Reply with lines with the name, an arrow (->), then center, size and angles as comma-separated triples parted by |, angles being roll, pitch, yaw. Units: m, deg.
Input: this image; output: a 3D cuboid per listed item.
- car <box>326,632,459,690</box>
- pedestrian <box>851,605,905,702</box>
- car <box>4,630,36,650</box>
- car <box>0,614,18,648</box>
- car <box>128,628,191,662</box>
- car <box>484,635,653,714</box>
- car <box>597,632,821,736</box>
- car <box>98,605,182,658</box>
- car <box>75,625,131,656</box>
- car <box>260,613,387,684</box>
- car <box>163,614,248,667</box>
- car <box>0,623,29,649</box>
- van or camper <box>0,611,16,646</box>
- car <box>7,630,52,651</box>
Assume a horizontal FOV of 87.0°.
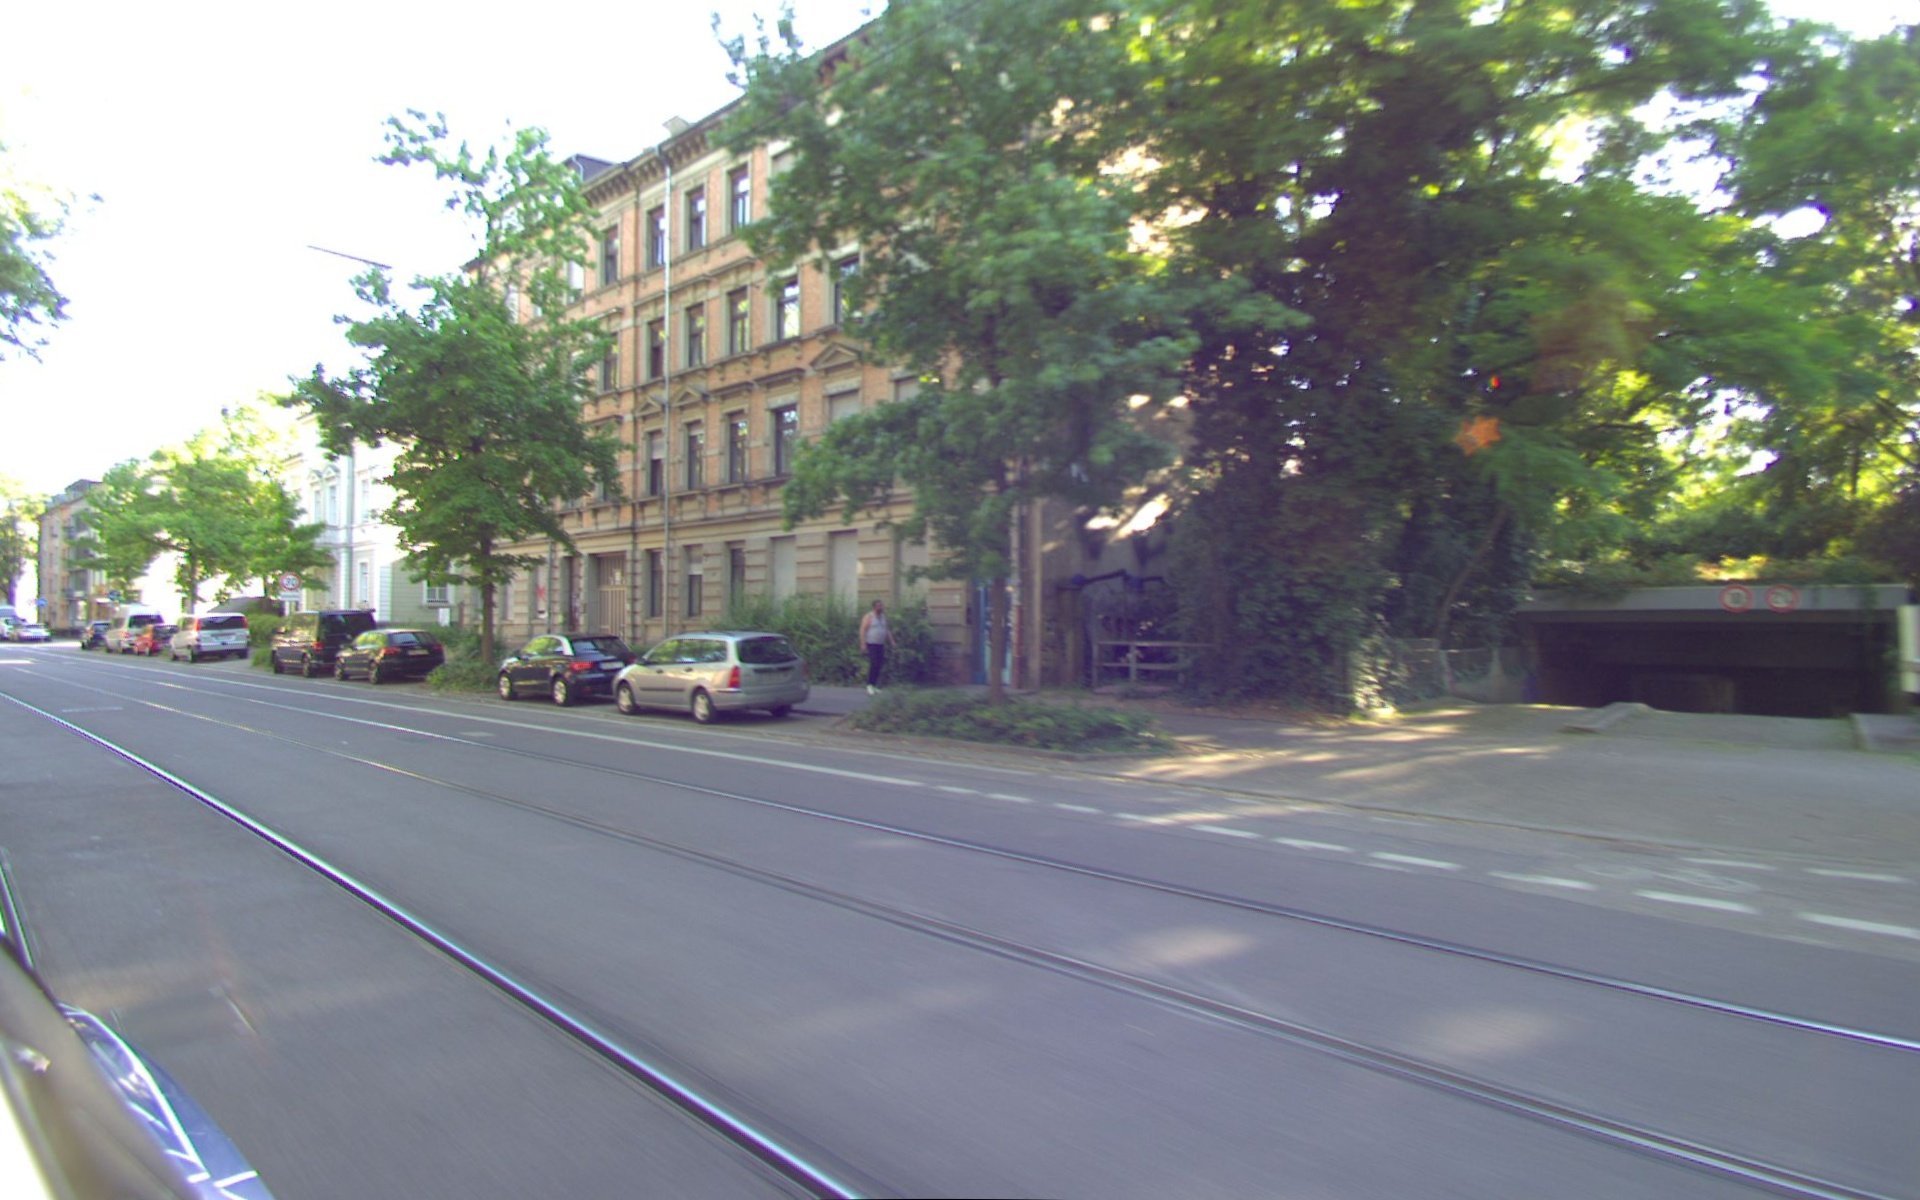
car -> -15.706, 1.634, 27.946 | 4.267, 1.469, 1.834 | -1, -3, 41
pedestrian -> -1.611, 1.040, 19.913 | 0.728, 1.861, 0.734 | -2, -1, 40
car -> -72.615, 3.060, 78.155 | 2.882, 1.504, 1.554 | -2, -2, 42
car -> -81.507, 2.609, 85.850 | 4.545, 2.767, 1.903 | -2, 1, 42
car -> -37.708, 2.091, 47.664 | 3.706, 1.551, 1.667 | -2, -3, 41
car -> -8.157, 1.471, 20.942 | 3.947, 1.456, 1.641 | -2, -2, 41
car -> -4.468, 1.341, 17.592 | 4.538, 1.562, 1.680 | -2, -2, 45
car -> -41.395, 1.577, 51.041 | 5.339, 2.527, 2.280 | -1, -3, 40
car -> -48.450, 2.266, 57.162 | 4.262, 1.703, 1.970 | -2, -3, 44
car -> -19.894, 1.475, 31.557 | 4.831, 2.029, 1.973 | -1, -3, 41
car -> -30.524, 1.622, 40.882 | 4.987, 2.004, 1.824 | -2, -3, 43
car -> -77.054, 2.889, 81.907 | 4.938, 2.062, 1.903 | -1, -2, 41
van or camper -> -86.496, 2.584, 90.538 | 5.990, 2.999, 2.391 | -2, 1, 43
car -> -69.061, 3.004, 75.074 | 4.936, 1.504, 1.753 | -1, -2, 39
